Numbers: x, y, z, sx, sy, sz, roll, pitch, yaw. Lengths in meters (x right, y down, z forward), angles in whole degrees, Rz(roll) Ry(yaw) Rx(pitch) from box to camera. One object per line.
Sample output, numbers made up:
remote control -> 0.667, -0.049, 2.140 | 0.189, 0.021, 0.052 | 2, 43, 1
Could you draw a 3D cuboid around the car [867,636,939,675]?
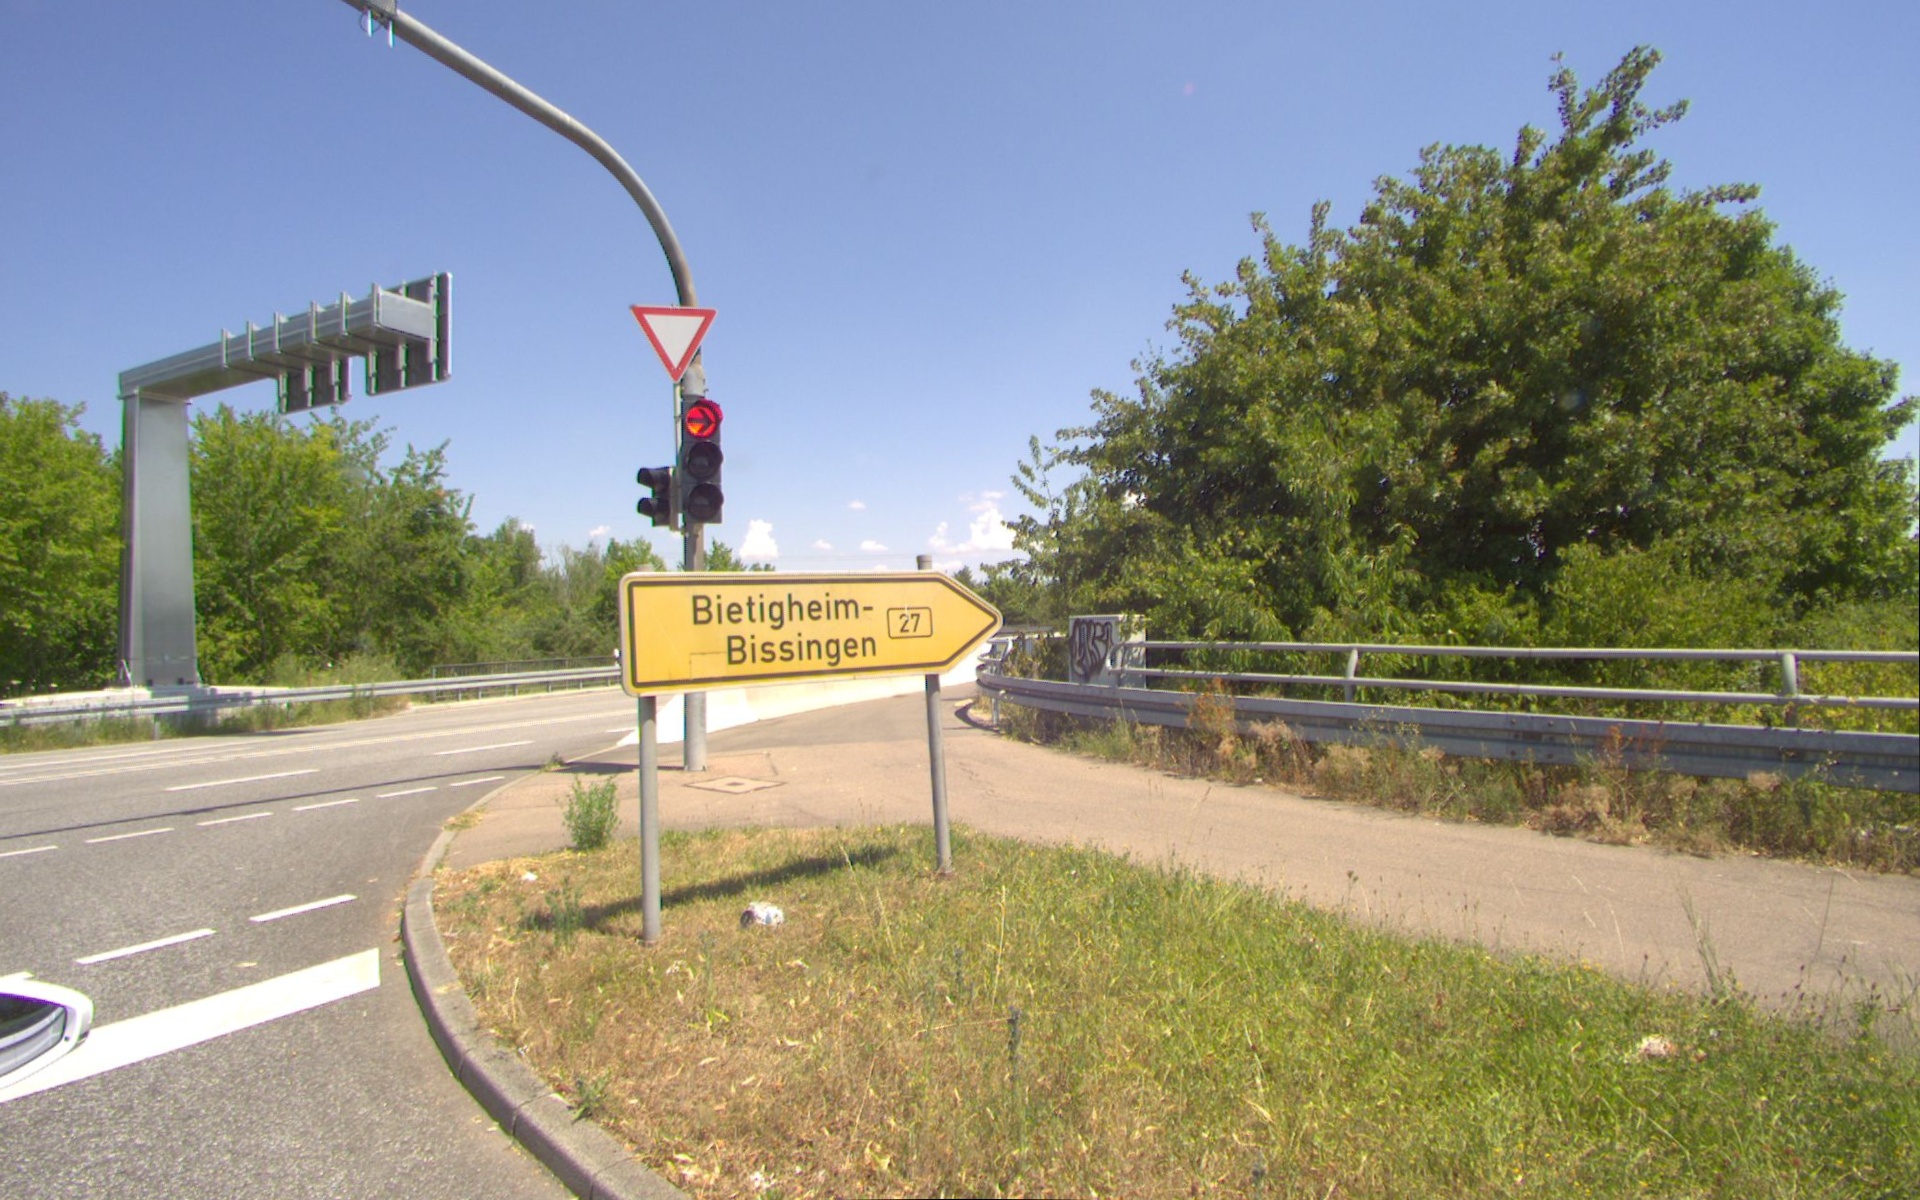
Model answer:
car -> -2.260, 2.230, 40.720 | 1.618, 1.412, 3.988 | -4, -4, 16
